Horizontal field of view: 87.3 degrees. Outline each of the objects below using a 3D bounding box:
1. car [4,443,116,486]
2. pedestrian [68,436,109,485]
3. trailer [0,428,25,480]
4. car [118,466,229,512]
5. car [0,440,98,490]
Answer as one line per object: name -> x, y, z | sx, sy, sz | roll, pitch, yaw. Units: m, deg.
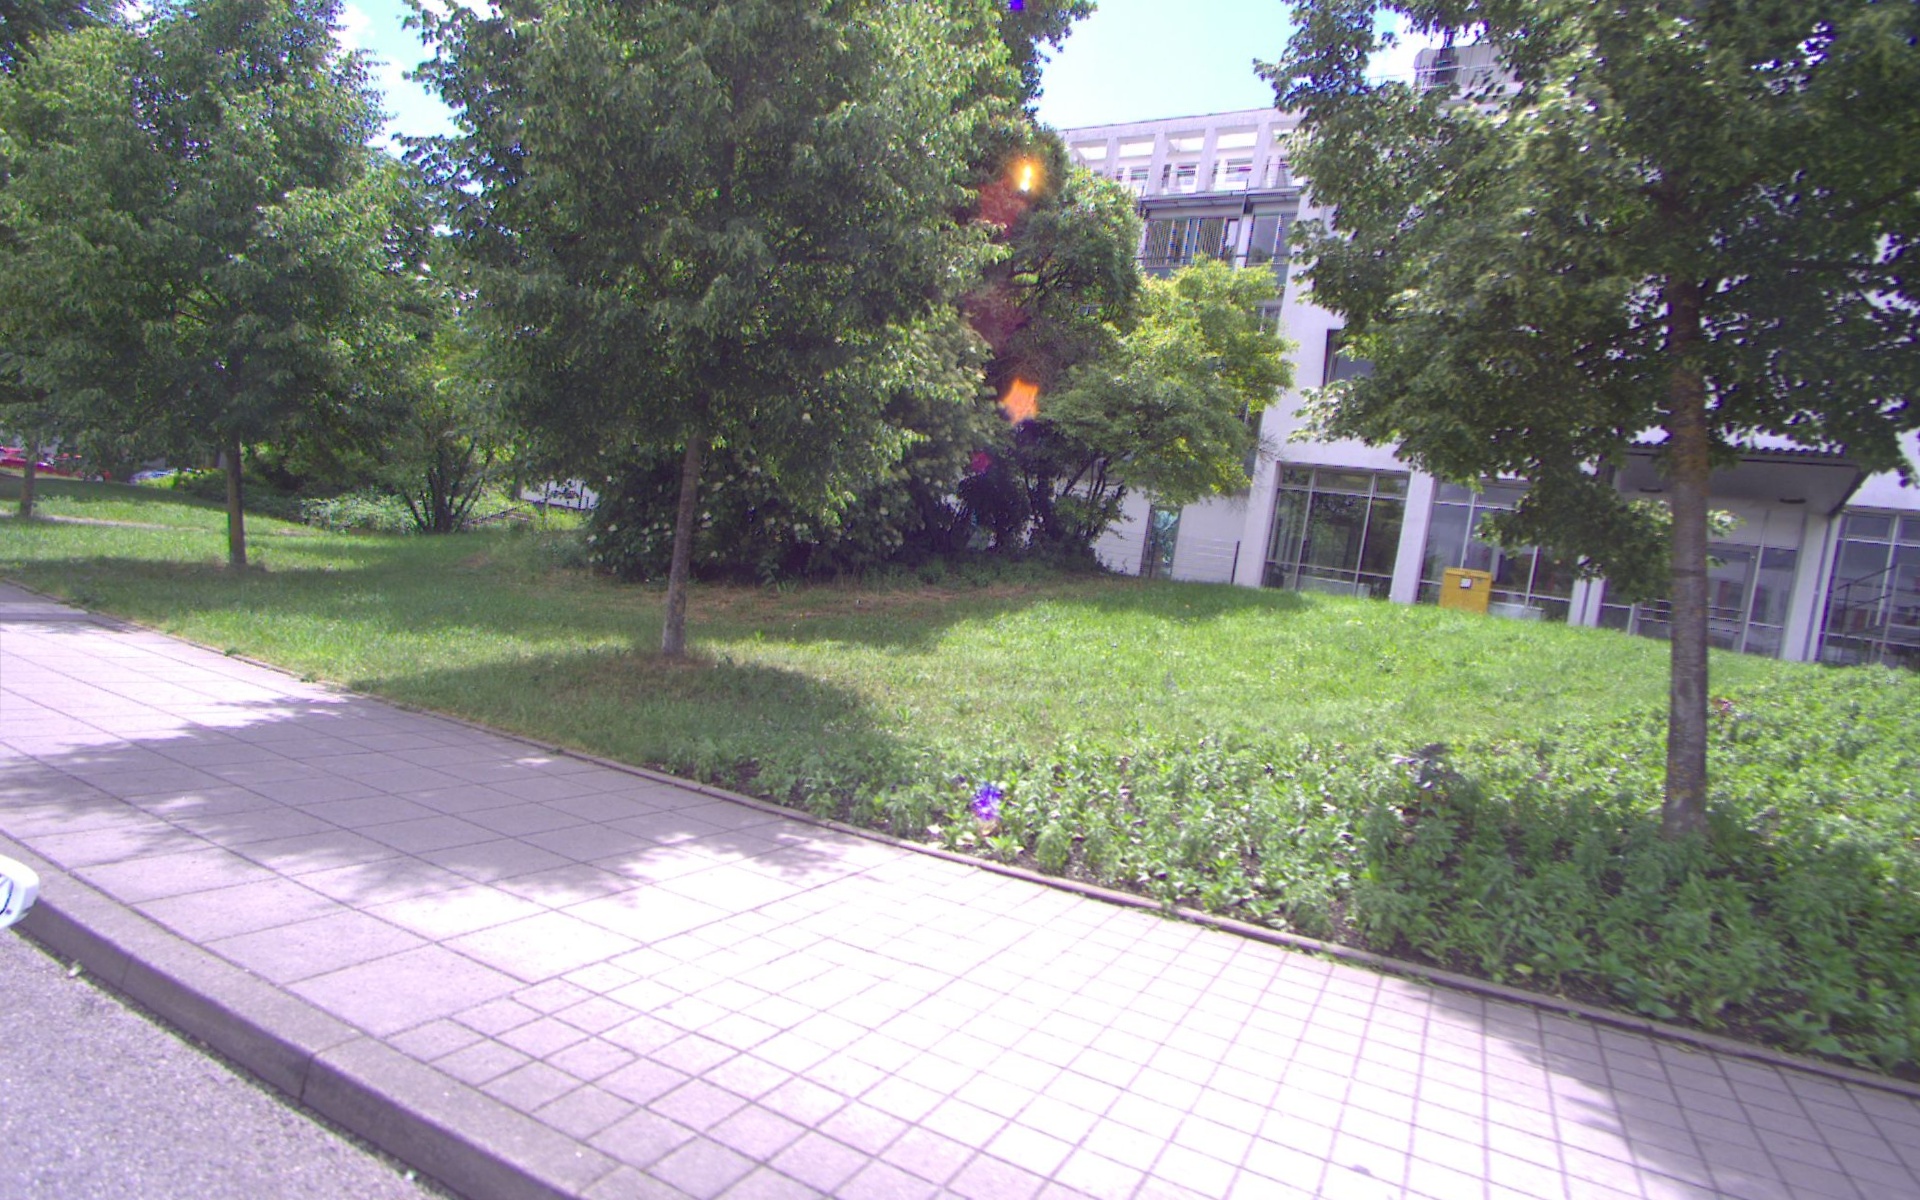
car -> -49.872, -7.482, 55.821 | 1.965, 1.521, 4.088 | 10, 2, 26
pedestrian -> -35.251, -5.640, 40.677 | 0.845, 1.782, 0.985 | 9, 2, 38
trailer -> -51.785, -7.967, 51.899 | 2.182, 2.517, 4.548 | 10, 1, 26
car -> -41.440, -5.826, 53.117 | 1.964, 1.579, 4.088 | 9, 1, 25
car -> -43.741, -6.451, 47.789 | 1.797, 1.663, 3.696 | 10, 1, 26
